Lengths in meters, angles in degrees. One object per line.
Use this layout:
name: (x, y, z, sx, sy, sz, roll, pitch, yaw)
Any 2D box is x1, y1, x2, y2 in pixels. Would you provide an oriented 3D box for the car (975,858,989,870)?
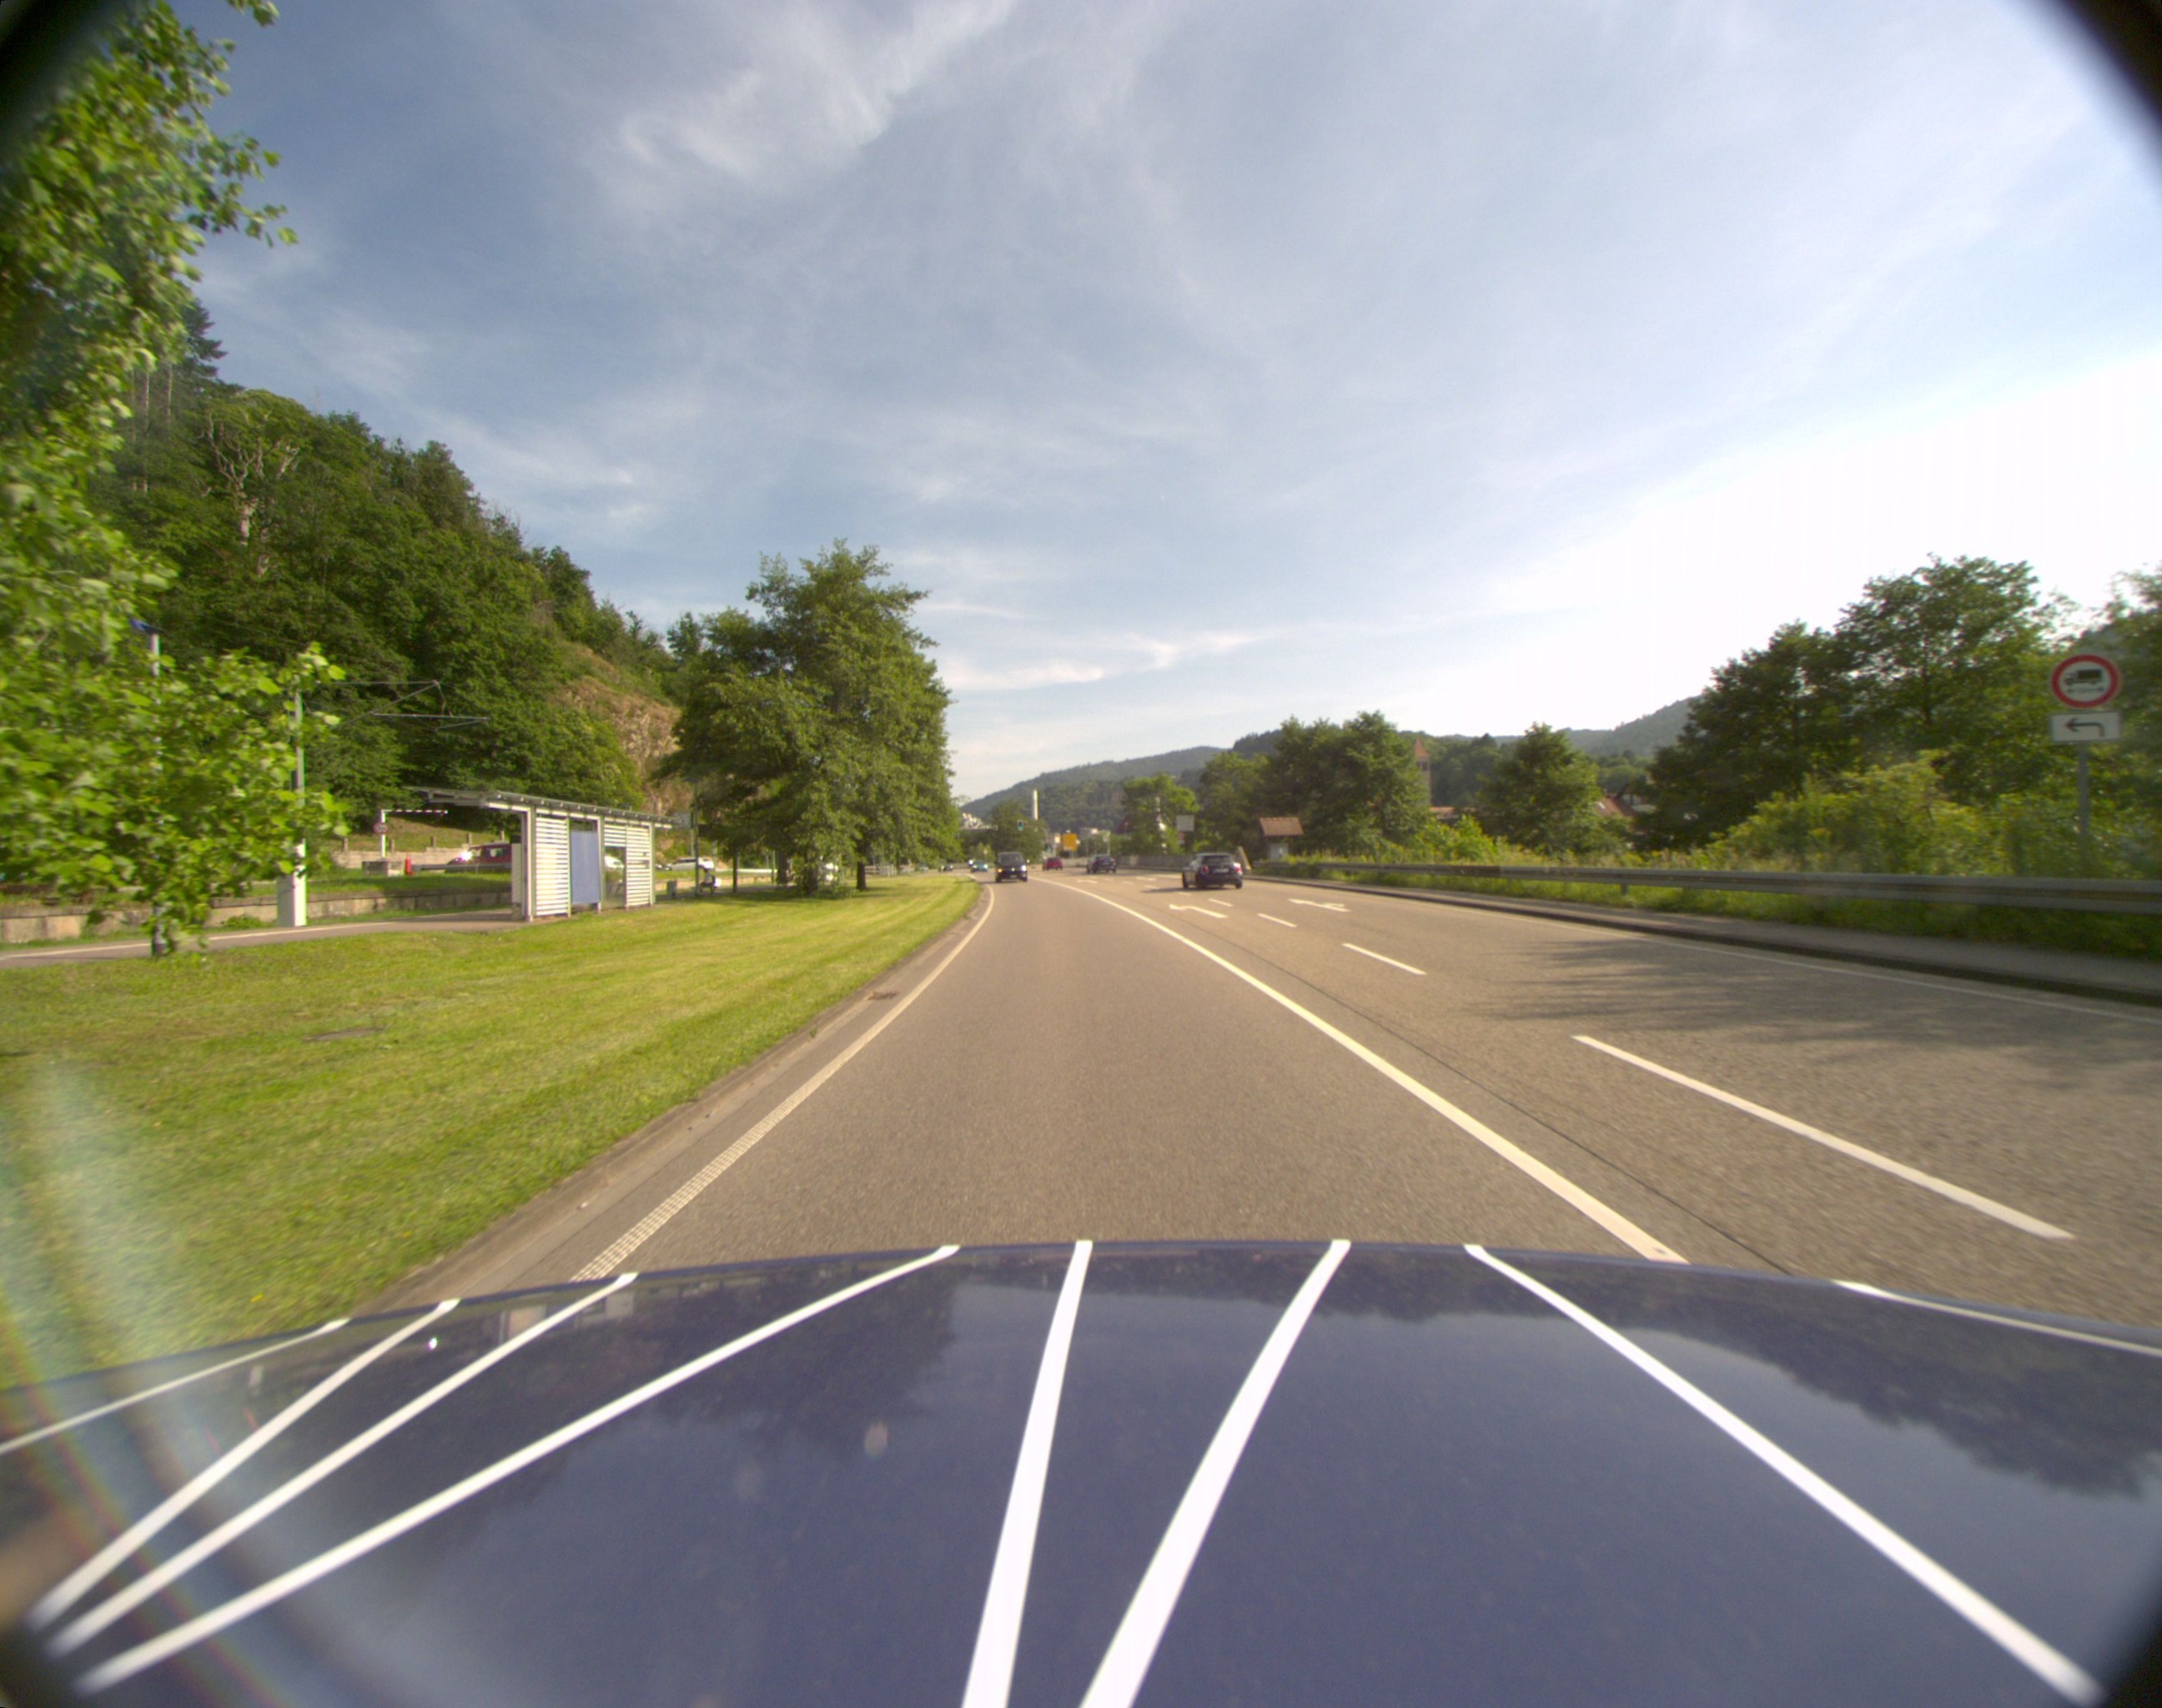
car: (-12.372, 1.212, 95.060, 1.769, 1.452, 3.574, 0, 0, -7)

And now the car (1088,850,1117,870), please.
car: (1.715, 0.494, 61.493, 1.856, 1.461, 4.540, -3, 0, -4)

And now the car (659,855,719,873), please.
car: (-33.446, 0.862, 64.896, 4.108, 1.390, 1.809, -2, 0, -6)

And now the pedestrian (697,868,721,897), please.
pedestrian: (-15.353, 1.160, 31.361, 0.637, 1.154, 0.726, 0, 0, 3)

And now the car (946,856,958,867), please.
car: (-21.646, 1.226, 127.733, 2.000, 1.783, 3.997, 0, 0, -8)

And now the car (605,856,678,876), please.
car: (-32.831, 0.856, 56.821, 4.278, 1.335, 1.830, -2, 0, -6)

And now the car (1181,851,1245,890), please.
car: (5.159, 0.604, 30.157, 1.698, 1.394, 4.201, -2, 0, -1)

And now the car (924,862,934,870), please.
car: (-29.612, 2.262, 147.985, 1.878, 1.452, 3.725, 0, 0, -13)

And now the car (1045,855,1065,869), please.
car: (-2.881, 0.855, 83.516, 1.681, 1.451, 4.198, -2, 0, -10)

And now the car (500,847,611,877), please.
car: (-31.121, 0.486, 45.155, 4.966, 1.578, 2.140, -2, 0, -6)

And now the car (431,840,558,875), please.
car: (-30.835, 0.188, 40.070, 4.966, 1.681, 1.935, -2, 0, -6)

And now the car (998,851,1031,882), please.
car: (-4.307, 0.765, 49.501, 1.909, 1.868, 4.346, -3, 0, -4)

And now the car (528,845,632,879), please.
car: (-31.280, 0.516, 47.548, 4.966, 1.932, 2.140, -2, 0, -6)
